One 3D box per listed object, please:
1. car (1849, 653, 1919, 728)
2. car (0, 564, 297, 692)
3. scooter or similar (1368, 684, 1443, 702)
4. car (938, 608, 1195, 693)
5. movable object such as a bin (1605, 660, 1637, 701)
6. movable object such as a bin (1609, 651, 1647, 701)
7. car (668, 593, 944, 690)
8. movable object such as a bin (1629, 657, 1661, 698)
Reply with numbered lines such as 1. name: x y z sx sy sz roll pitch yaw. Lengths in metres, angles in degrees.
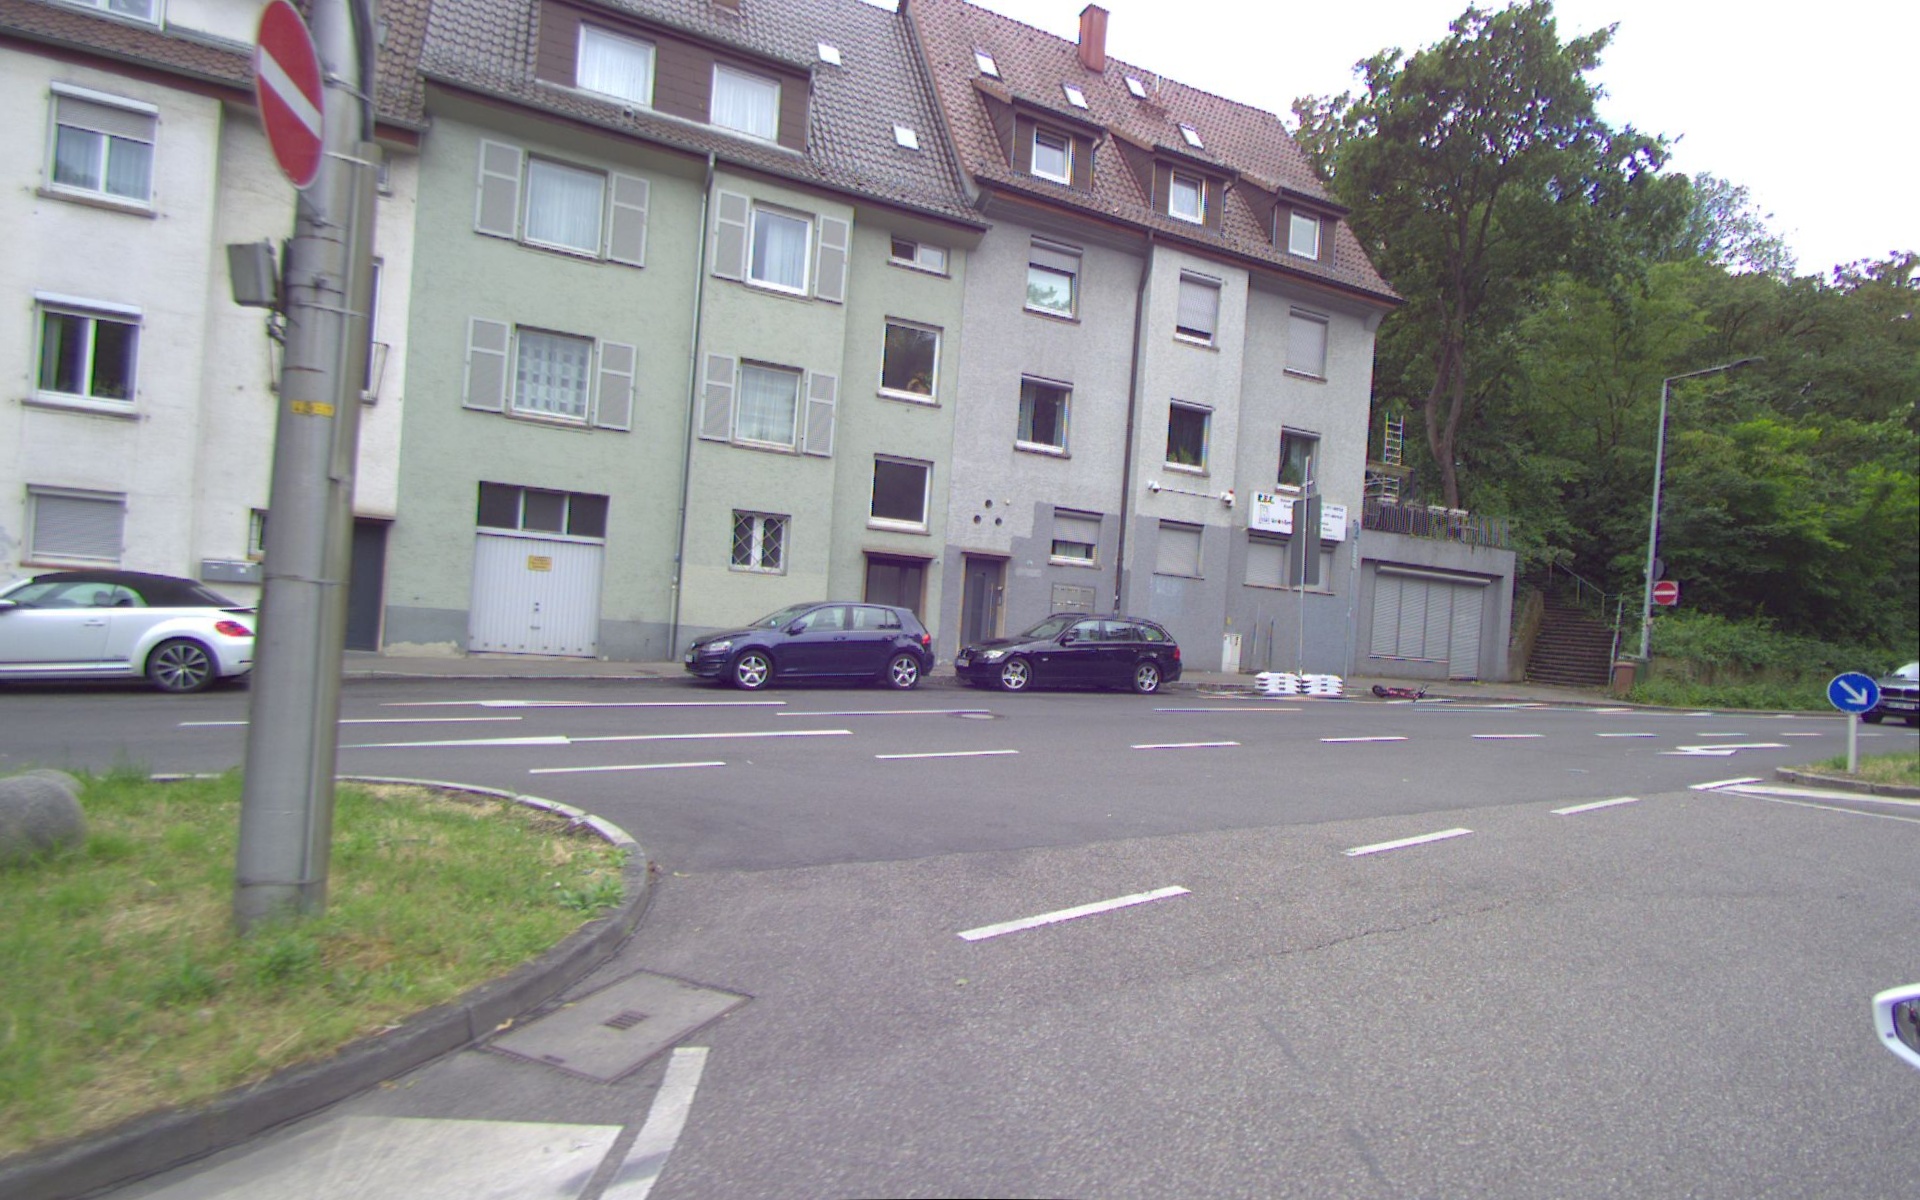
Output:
1. car: 24.948 2.359 25.606 4.877 1.721 1.862 4 -1 -29
2. car: -11.119 0.329 12.831 4.101 1.494 1.988 2 0 -25
3. scooter or similar: 9.594 2.000 21.646 1.090 0.292 1.114 4 -2 -40
4. car: 2.021 0.956 19.048 4.456 1.419 1.988 2 0 -25
5. movable object such as a bin: 16.948 2.068 25.760 0.441 0.980 0.511 3 3 -40
6. movable object such as a bin: 17.365 1.971 26.113 0.488 1.201 0.599 3 3 -40
7. car: -2.587 0.697 16.972 4.161 1.442 1.985 3 0 -29
8. movable object such as a bin: 18.636 2.102 27.327 0.427 1.038 0.551 3 3 -40
